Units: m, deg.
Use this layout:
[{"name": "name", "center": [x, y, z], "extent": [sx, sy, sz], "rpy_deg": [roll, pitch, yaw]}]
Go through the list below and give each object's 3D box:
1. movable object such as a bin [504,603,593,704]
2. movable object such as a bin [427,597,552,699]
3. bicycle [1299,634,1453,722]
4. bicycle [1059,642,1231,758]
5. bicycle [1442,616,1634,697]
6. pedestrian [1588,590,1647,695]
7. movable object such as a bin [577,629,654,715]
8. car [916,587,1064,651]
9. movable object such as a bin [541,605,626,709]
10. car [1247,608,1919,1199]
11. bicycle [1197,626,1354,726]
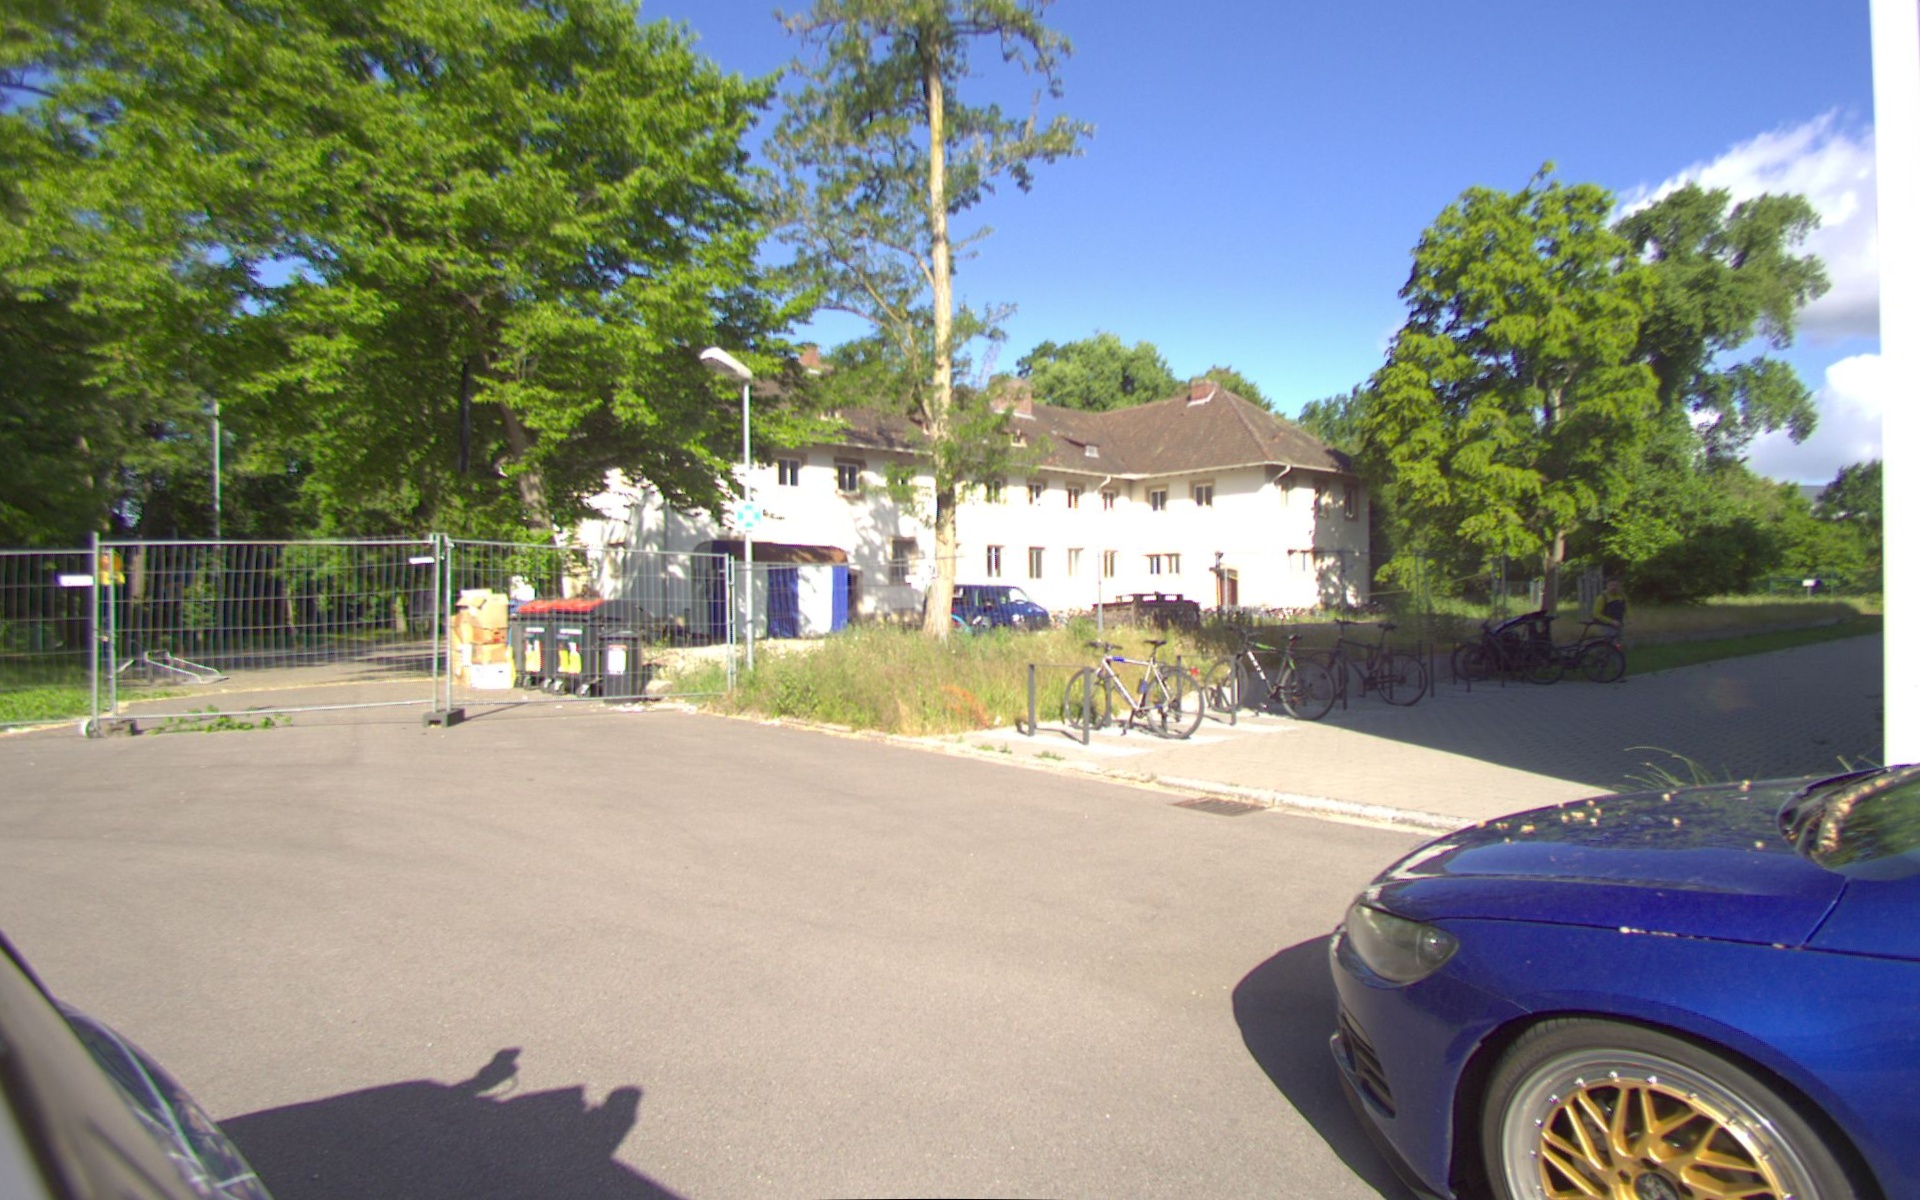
[{"name": "movable object such as a bin", "center": [-6.435, 0.803, 15.824], "extent": [1.341, 1.495, 0.795], "rpy_deg": [-1, -1, 43]}, {"name": "movable object such as a bin", "center": [-8.017, 0.777, 17.200], "extent": [2.296, 1.603, 1.158], "rpy_deg": [-1, -1, 43]}, {"name": "bicycle", "center": [5.641, 1.028, 13.814], "extent": [0.518, 1.103, 1.896], "rpy_deg": [1, -2, -42]}, {"name": "bicycle", "center": [1.874, 0.994, 10.474], "extent": [1.806, 1.070, 0.453], "rpy_deg": [-1, -1, 44]}, {"name": "bicycle", "center": [9.901, 0.921, 17.449], "extent": [1.122, 1.276, 2.645], "rpy_deg": [0, -1, -37]}, {"name": "pedestrian", "center": [11.135, 0.707, 17.155], "extent": [0.625, 1.741, 0.513], "rpy_deg": [0, -1, -8]}, {"name": "movable object such as a bin", "center": [-4.719, 0.959, 13.852], "extent": [0.806, 1.106, 0.740], "rpy_deg": [0, -1, -38]}, {"name": "car", "center": [0.911, 0.623, 32.831], "extent": [4.727, 1.916, 1.971], "rpy_deg": [-1, -2, 45]}, {"name": "movable object such as a bin", "center": [-5.525, 0.810, 14.833], "extent": [1.249, 1.455, 0.692], "rpy_deg": [-1, -1, 43]}, {"name": "car", "center": [2.620, 0.708, 1.454], "extent": [1.648, 1.360, 3.958], "rpy_deg": [-2, 0, -42]}, {"name": "bicycle", "center": [3.752, 0.870, 12.159], "extent": [0.516, 1.090, 1.801], "rpy_deg": [0, -1, -39]}]
